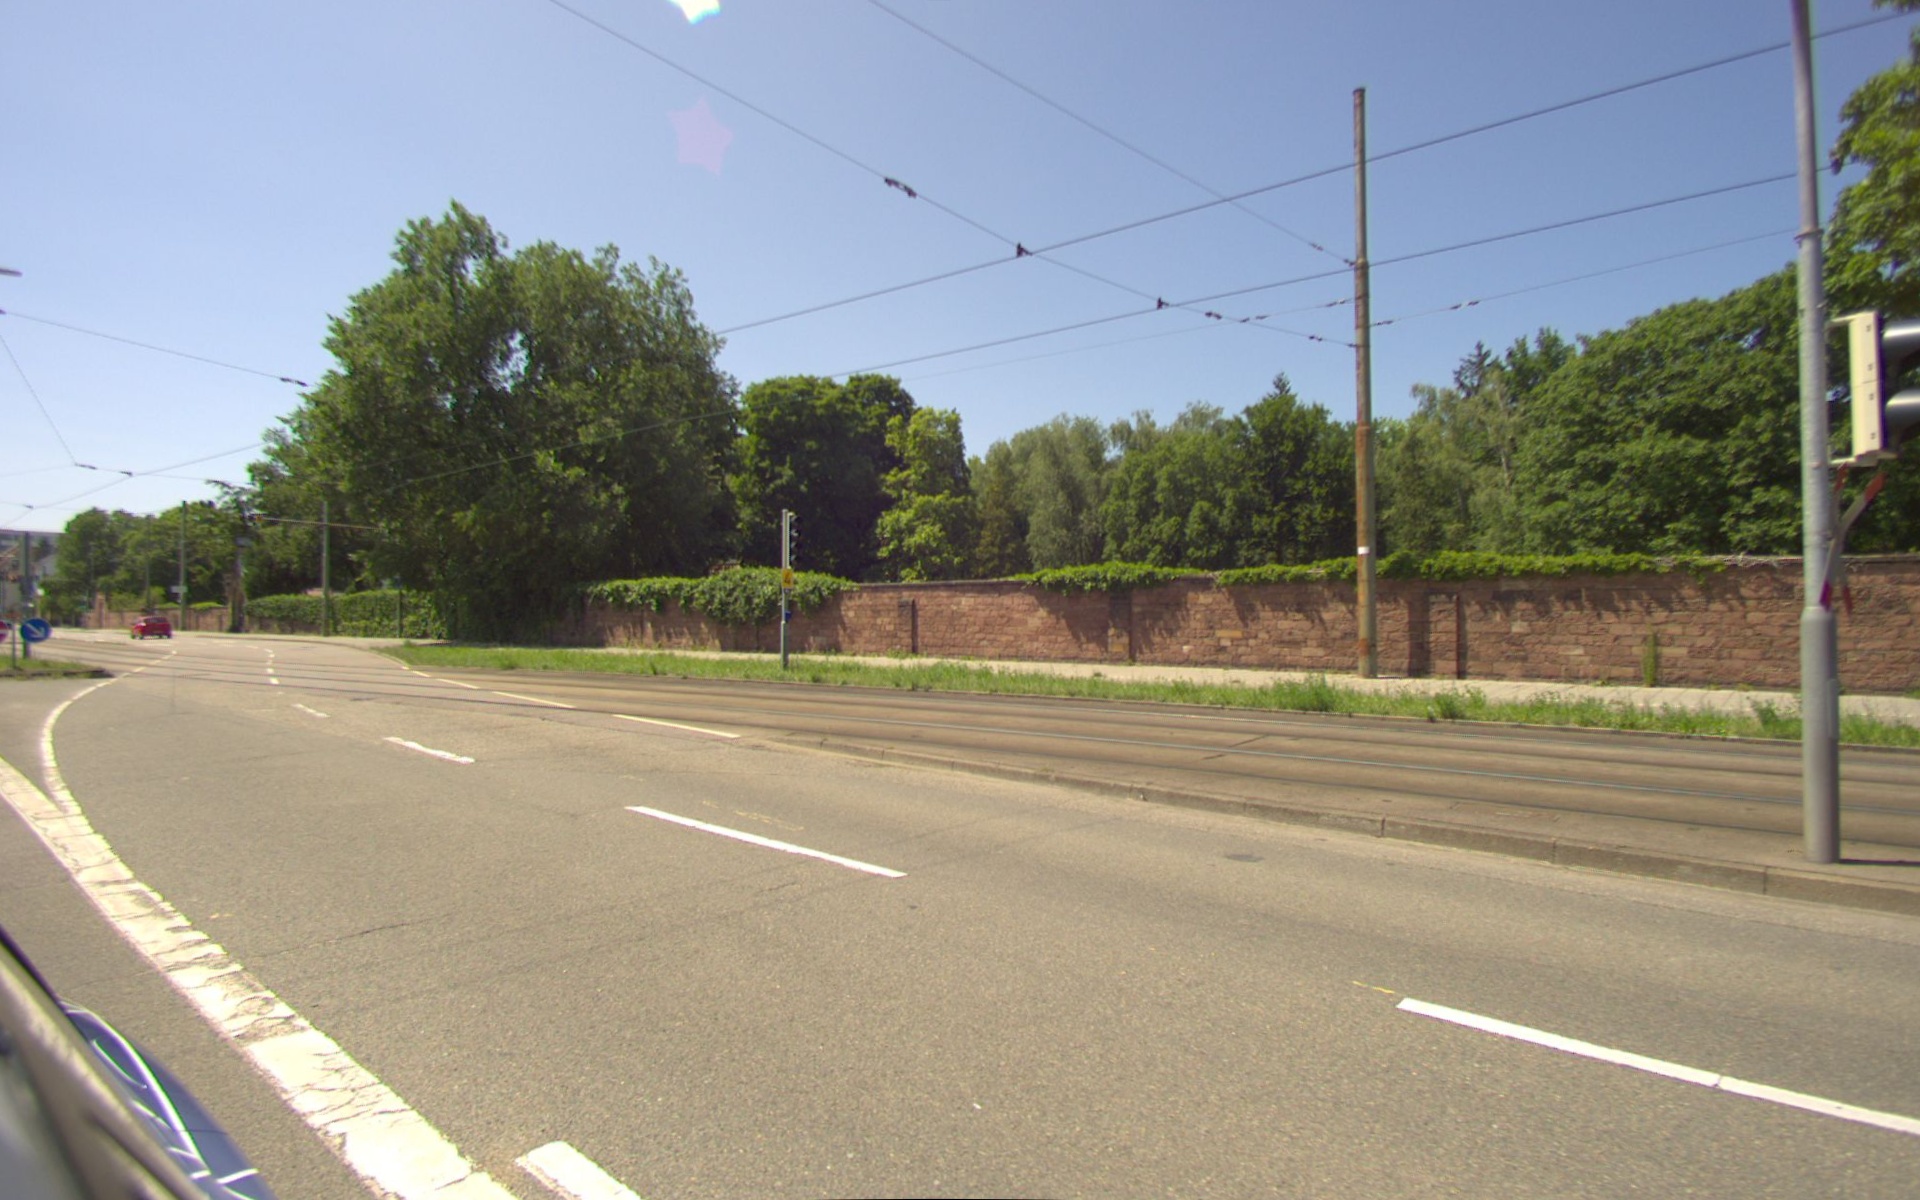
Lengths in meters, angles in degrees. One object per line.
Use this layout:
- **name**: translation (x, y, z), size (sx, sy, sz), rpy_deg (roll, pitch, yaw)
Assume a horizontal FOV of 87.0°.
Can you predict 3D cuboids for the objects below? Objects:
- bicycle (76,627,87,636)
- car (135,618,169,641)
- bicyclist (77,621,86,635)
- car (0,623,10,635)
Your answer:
- **bicycle**: translation (-95.172, 3.437, 109.619), size (2.113, 0.964, 0.645), rpy_deg (-1, -1, 40)
- **car**: translation (-53.747, 1.961, 67.300), size (1.685, 1.424, 4.288), rpy_deg (0, -1, -40)
- **bicyclist**: translation (-95.197, 3.051, 109.645), size (0.662, 1.508, 0.646), rpy_deg (-1, -1, 40)
- **car**: translation (-121.941, 3.724, 128.411), size (4.123, 1.459, 1.736), rpy_deg (-1, 0, 43)
